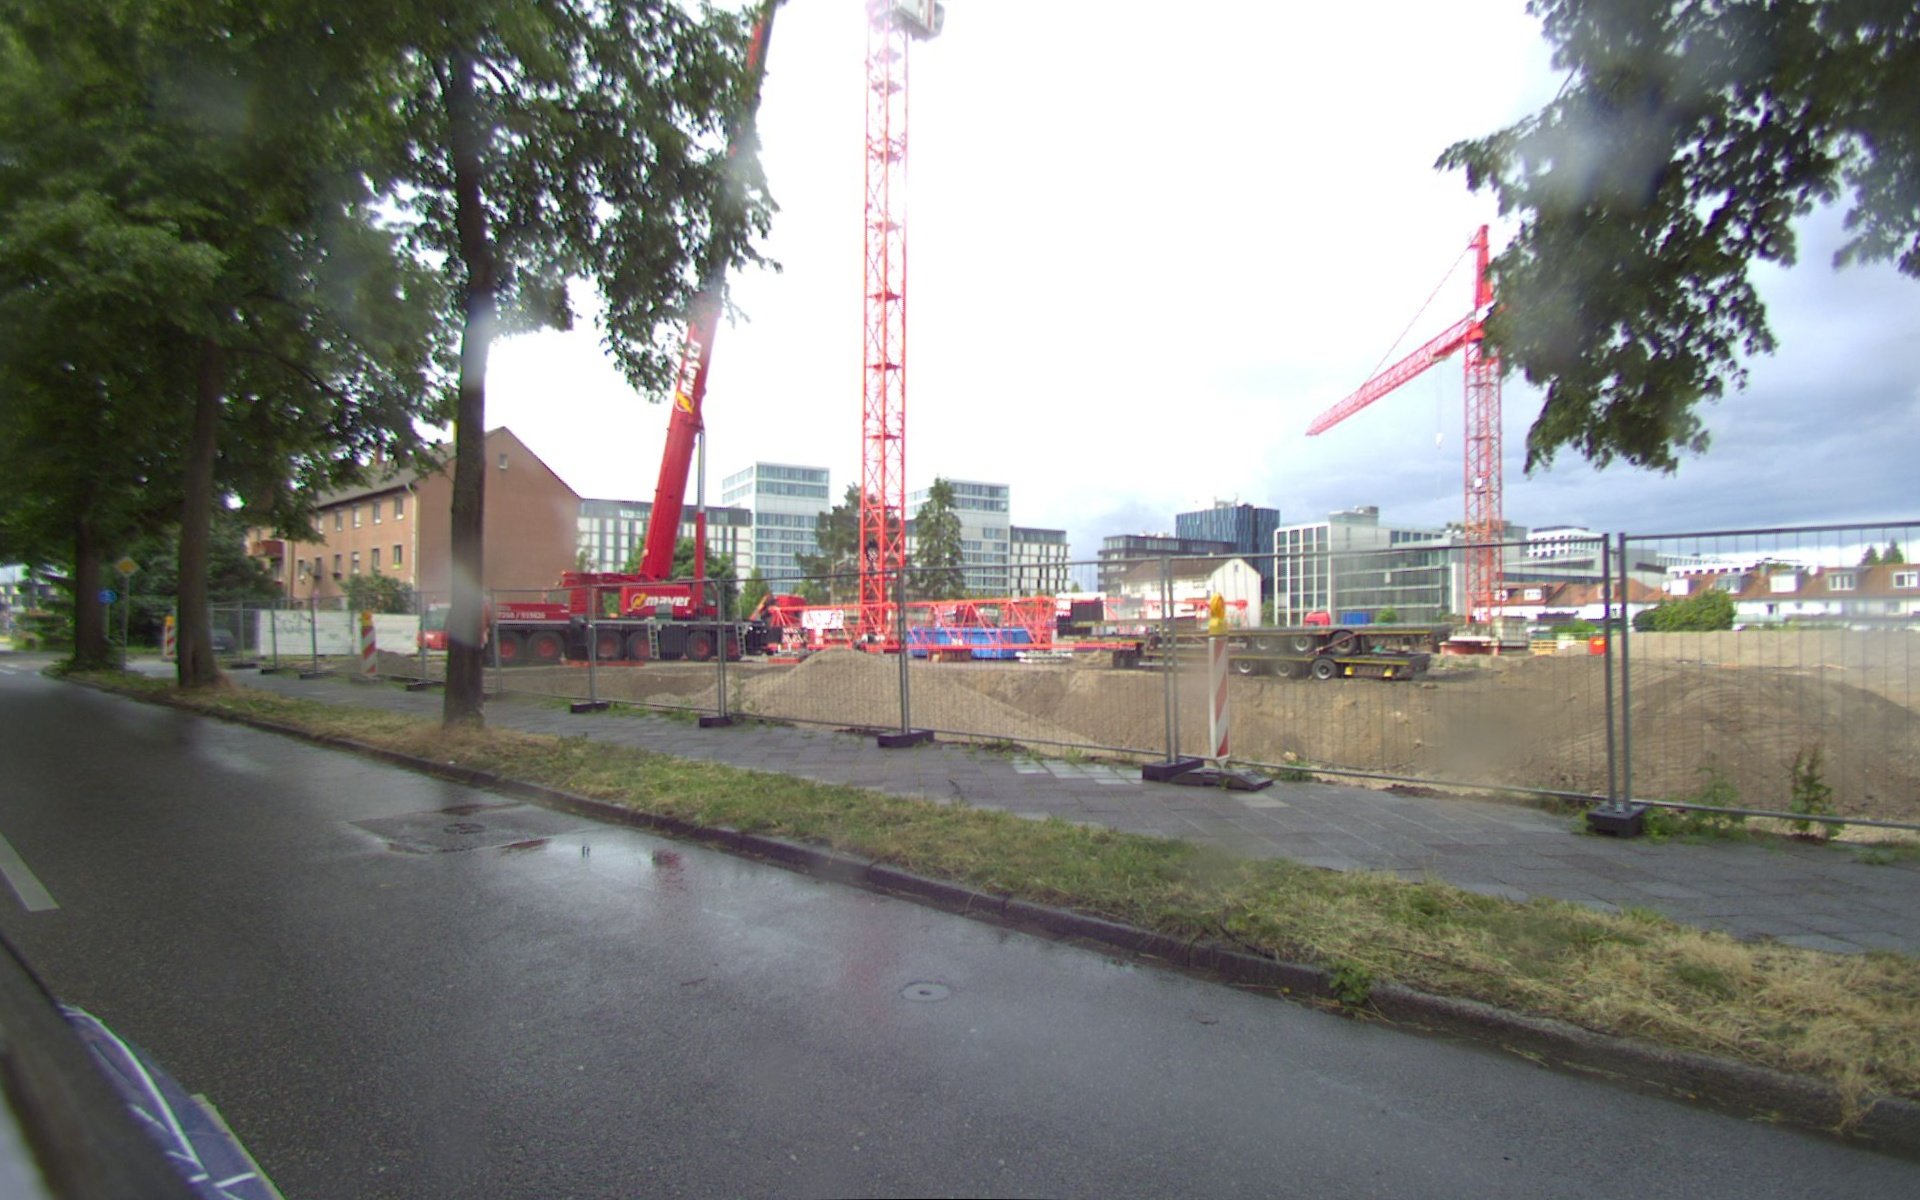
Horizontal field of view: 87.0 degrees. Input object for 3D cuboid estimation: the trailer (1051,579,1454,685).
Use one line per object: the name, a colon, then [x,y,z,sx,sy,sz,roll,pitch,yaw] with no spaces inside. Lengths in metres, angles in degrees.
trailer: [10.022,1.032,37.141,14.302,3.257,2.930,-1,1,41]

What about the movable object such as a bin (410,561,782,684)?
movable object such as a bin: [-15.265,0.827,44.760,3.103,4.592,15.727,-1,0,44]

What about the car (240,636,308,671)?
car: [-33.468,2.565,49.327,3.996,1.541,1.672,-1,0,39]

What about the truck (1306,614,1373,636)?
truck: [38.576,2.515,102.869,6.292,2.095,1.884,0,0,25]
